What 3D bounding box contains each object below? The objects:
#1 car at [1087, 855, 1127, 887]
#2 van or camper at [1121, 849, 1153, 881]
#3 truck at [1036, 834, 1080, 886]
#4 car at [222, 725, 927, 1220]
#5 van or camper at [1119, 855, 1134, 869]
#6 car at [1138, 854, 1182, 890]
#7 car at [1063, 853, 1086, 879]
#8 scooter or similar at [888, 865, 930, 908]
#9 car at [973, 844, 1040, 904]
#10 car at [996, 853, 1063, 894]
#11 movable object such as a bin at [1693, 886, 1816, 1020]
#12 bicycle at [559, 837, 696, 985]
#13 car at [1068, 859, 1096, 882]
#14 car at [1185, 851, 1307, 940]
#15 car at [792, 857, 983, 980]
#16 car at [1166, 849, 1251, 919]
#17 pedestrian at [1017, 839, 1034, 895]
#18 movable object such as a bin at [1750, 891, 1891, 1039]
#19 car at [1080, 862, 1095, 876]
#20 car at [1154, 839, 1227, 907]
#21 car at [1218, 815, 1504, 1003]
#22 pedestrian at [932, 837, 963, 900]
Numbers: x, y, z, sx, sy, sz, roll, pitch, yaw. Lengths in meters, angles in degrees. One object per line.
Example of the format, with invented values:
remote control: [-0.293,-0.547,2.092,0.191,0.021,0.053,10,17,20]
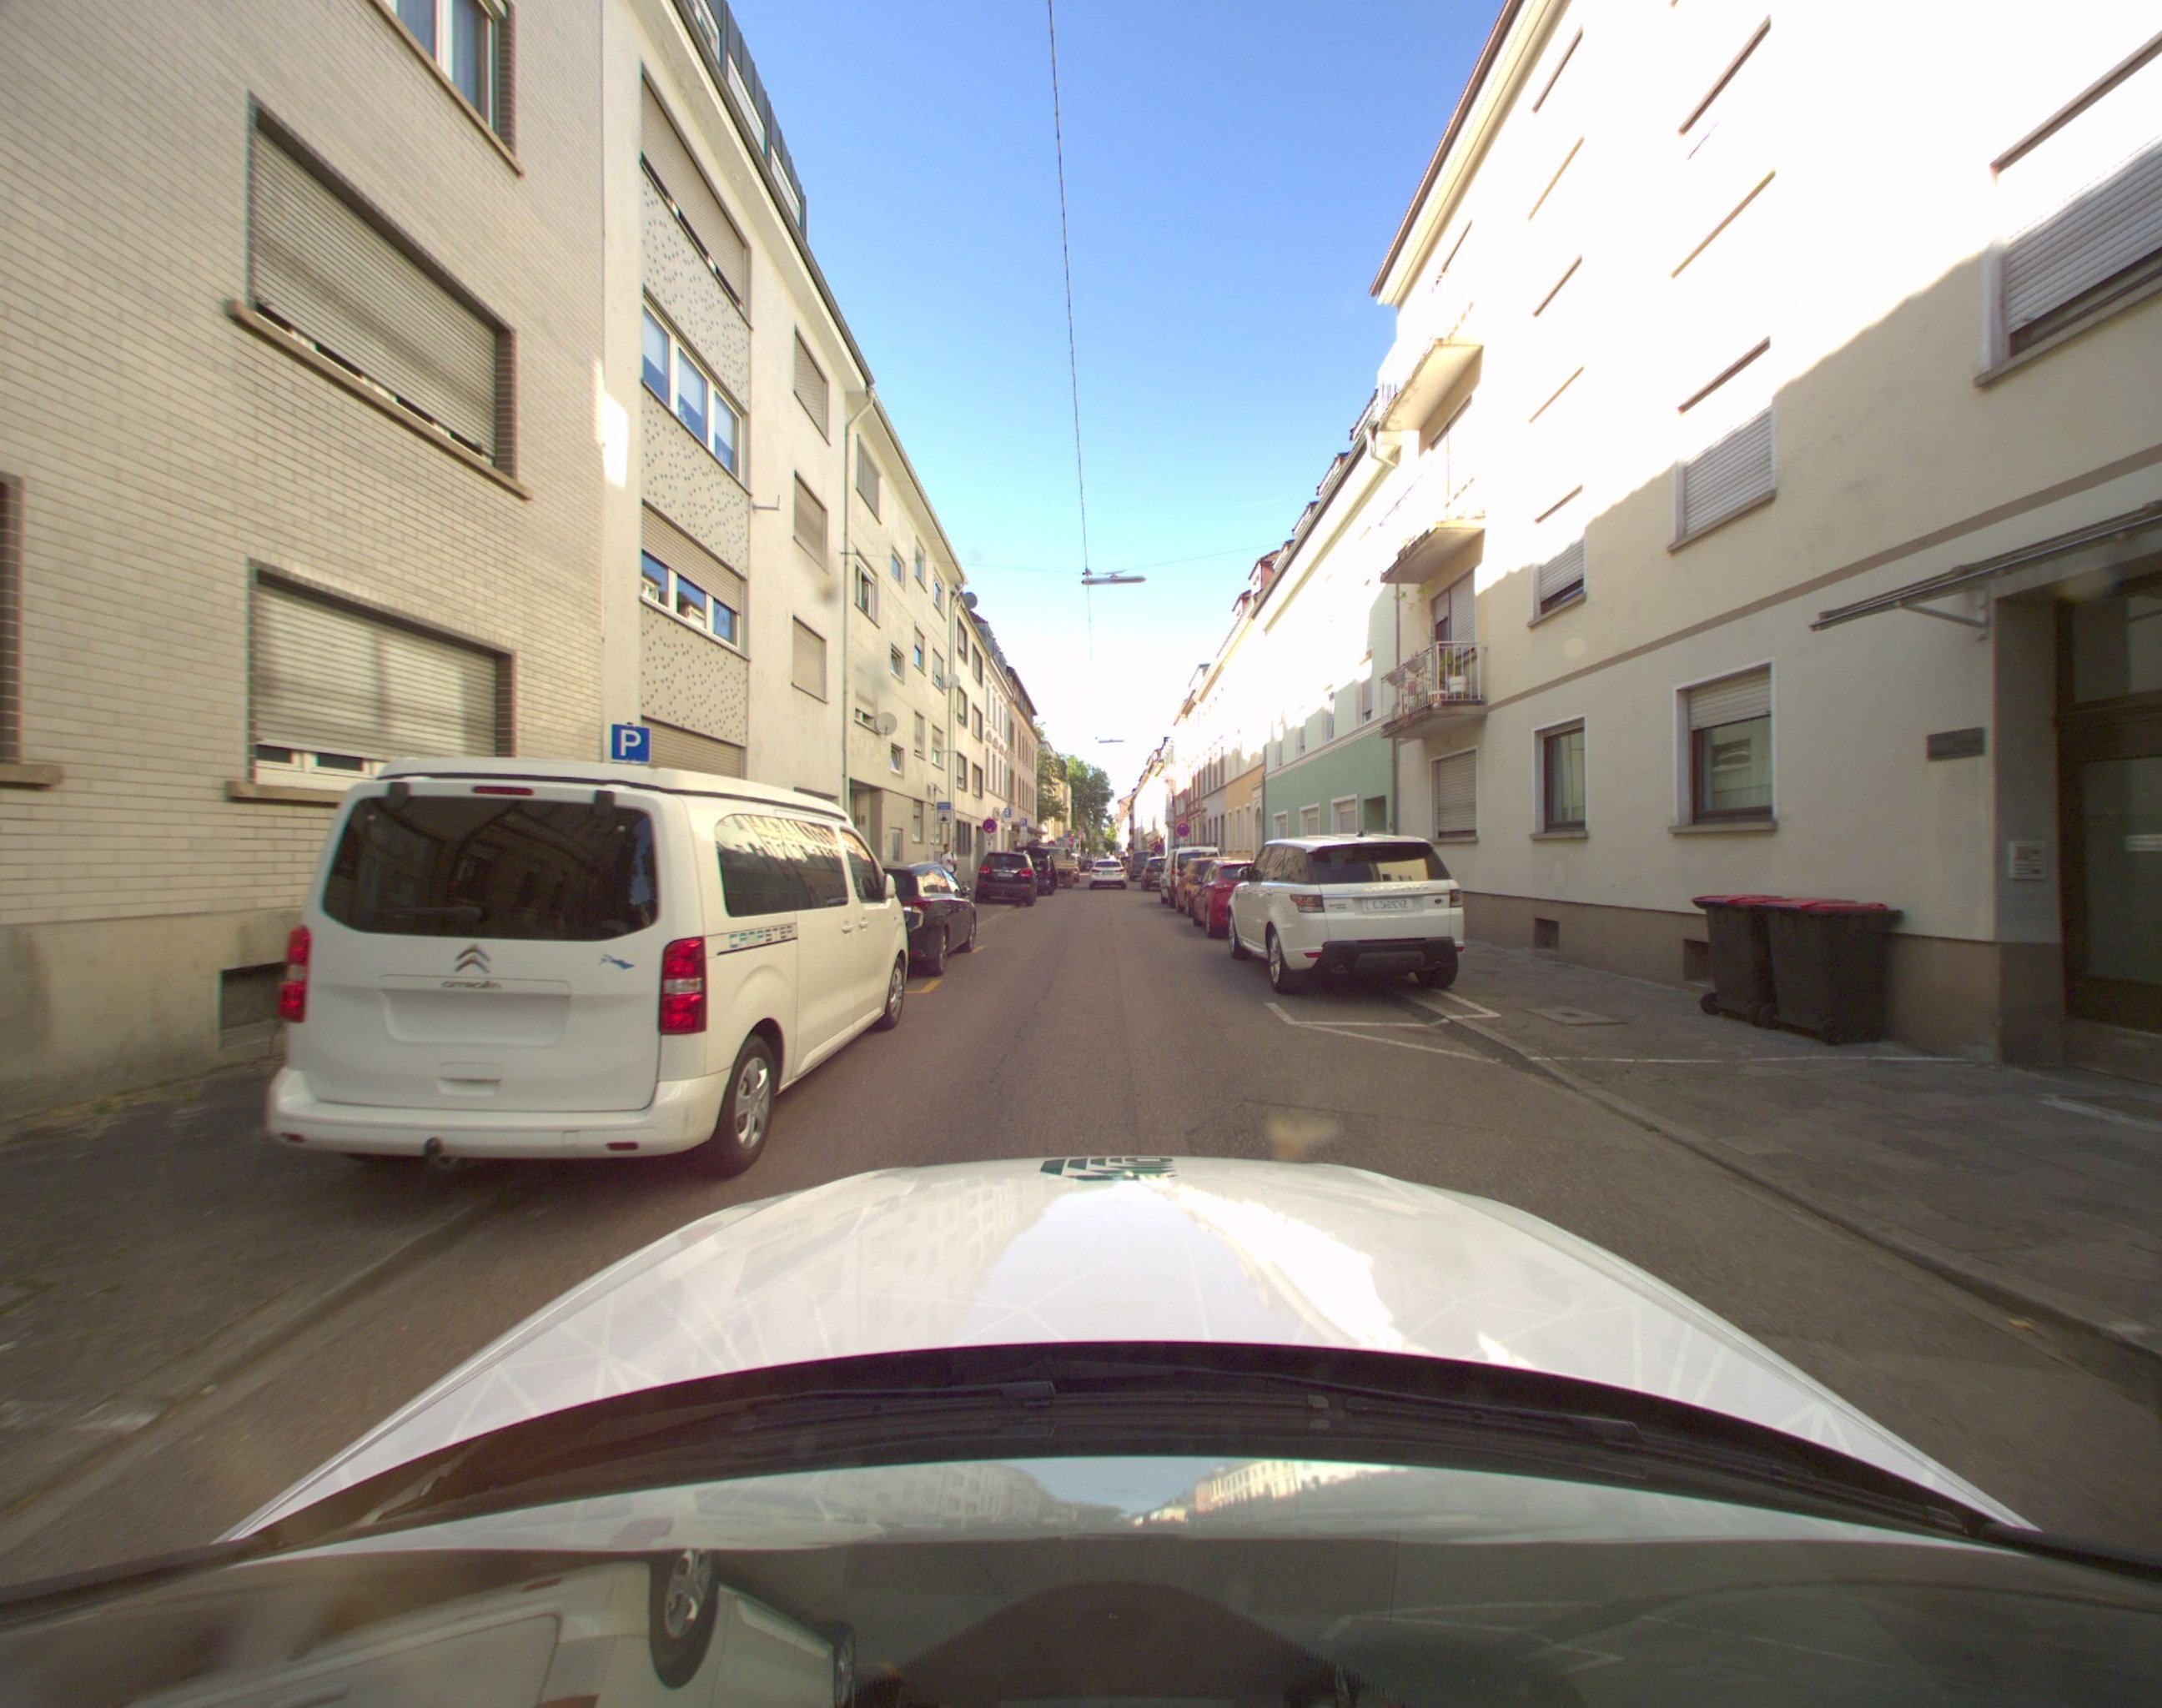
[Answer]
car: [1.318,0.821,40.295,1.826,1.486,4.059,-1,0,3]
van or camper: [3.821,0.770,56.099,1.770,2.036,4.568,-2,-1,0]
truck: [-1.312,0.385,43.765,2.152,2.590,6.242,-1,-1,-3]
car: [-2.496,0.472,5.689,1.888,1.958,4.780,2,0,0]
van or camper: [6.659,1.146,119.072,1.986,1.926,4.001,-1,-2,2]
car: [3.680,0.796,38.530,1.733,1.577,4.379,0,0,1]
car: [-0.498,0.858,60.353,1.642,1.868,3.998,0,0,-1]
scooter or similar: [-5.262,0.983,24.945,0.433,1.278,1.241,-2,-1,42]
car: [-2.387,0.601,27.131,1.874,1.755,4.539,3,0,-2]
car: [-2.165,0.802,35.902,2.432,1.706,5.244,0,0,2]
movable object such as a bin: [5.733,0.825,6.960,0.574,1.071,0.553,-1,-1,4]
bicycle: [-5.090,0.590,9.284,0.555,1.509,1.799,1,0,-2]
car: [0.090,1.077,54.730,1.752,1.415,4.000,-2,0,0]
car: [3.181,0.722,16.480,1.736,1.569,4.033,0,0,1]
car: [-2.540,0.772,11.765,1.701,1.450,4.301,0,0,0]
car: [3.239,0.724,21.294,1.576,1.632,3.680,1,0,-1]
pedestrian: [-2.241,0.530,33.046,0.616,2.229,0.688,-1,-2,1]
movable object such as a bin: [5.743,0.846,6.353,0.574,1.071,0.553,-1,-1,4]
car: [0.781,1.706,95.951,1.618,1.597,3.582,0,0,2]
car: [3.387,0.575,25.929,1.776,1.961,4.336,0,-1,1]
car: [3.083,0.507,10.215,1.998,1.783,4.940,0,0,1]
pedestrian: [-4.174,0.462,25.564,0.803,1.934,0.691,-1,-1,1]
